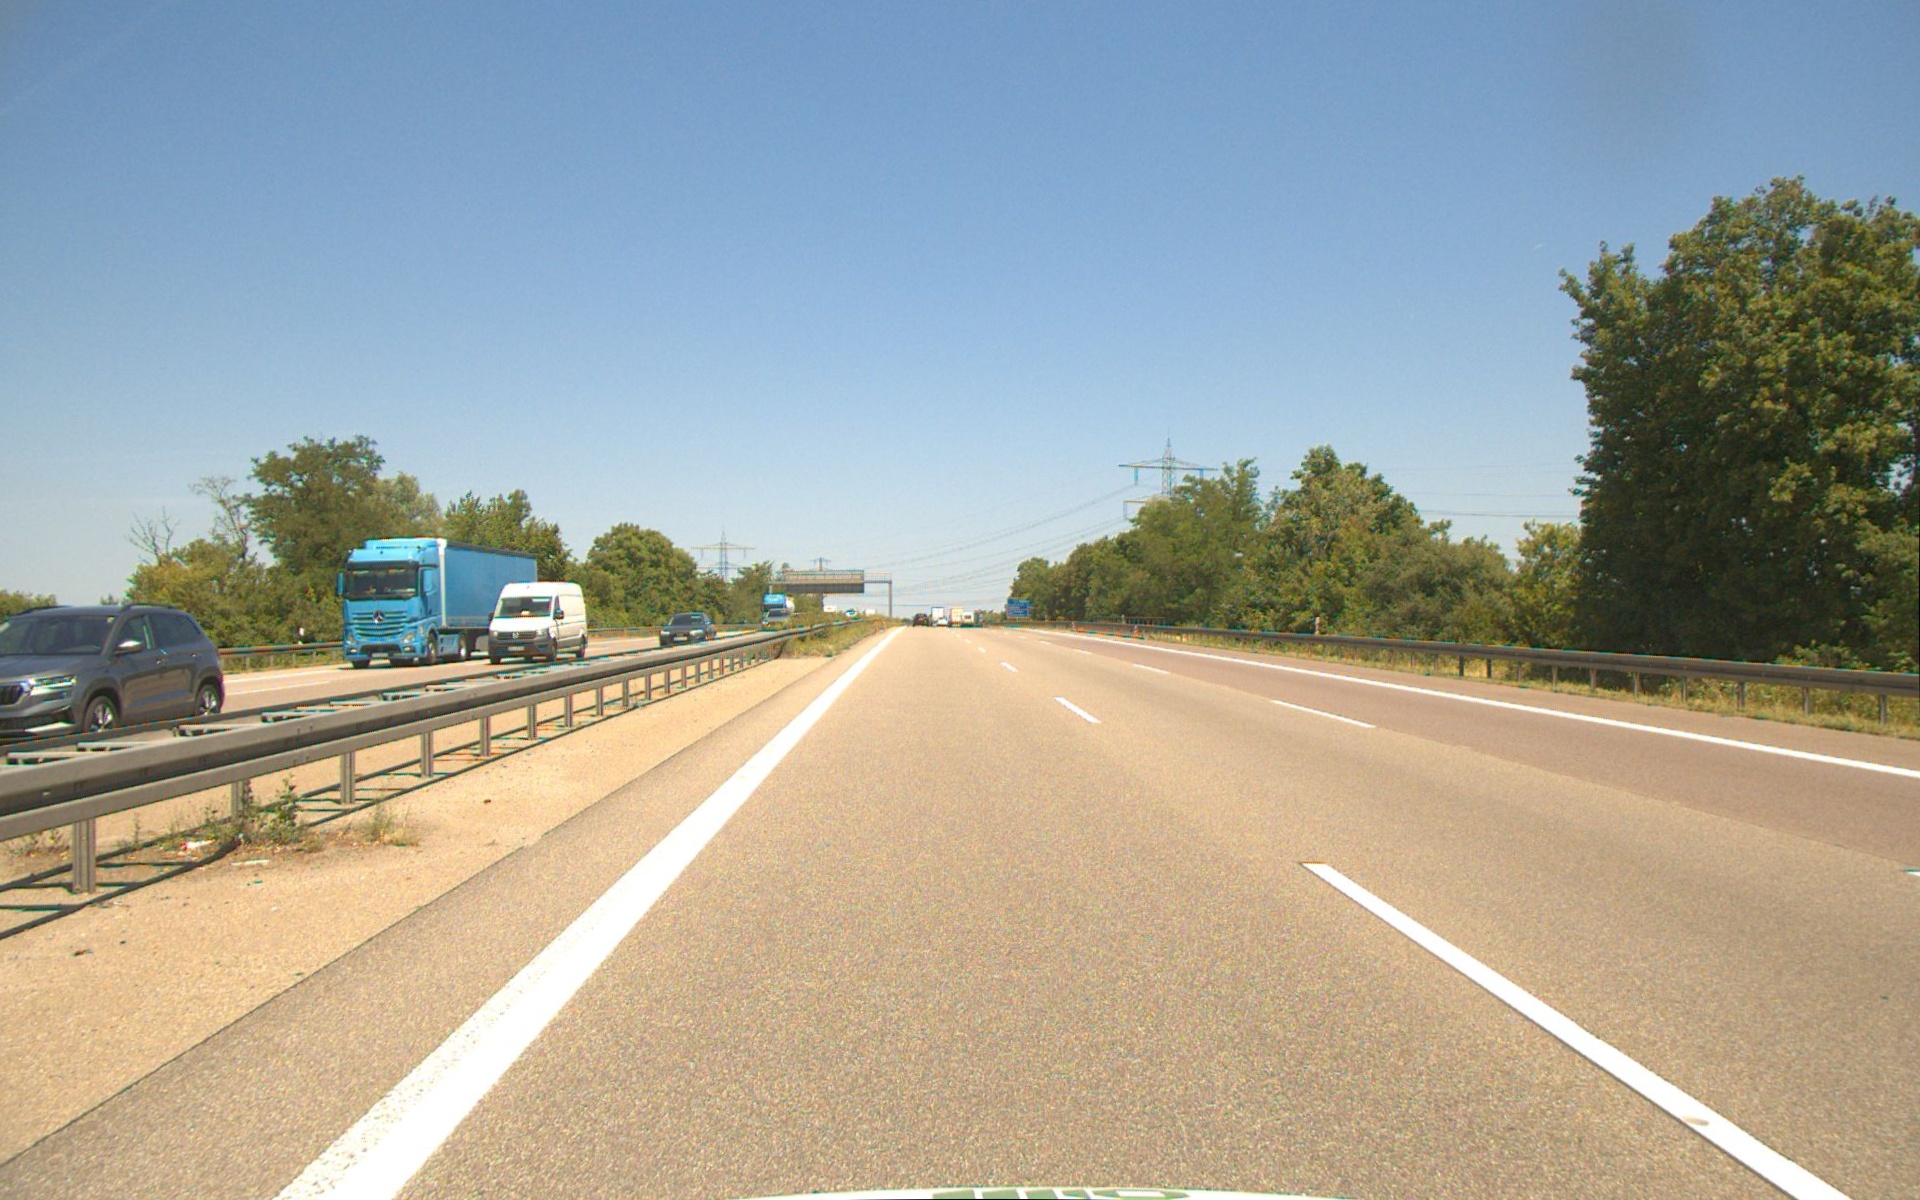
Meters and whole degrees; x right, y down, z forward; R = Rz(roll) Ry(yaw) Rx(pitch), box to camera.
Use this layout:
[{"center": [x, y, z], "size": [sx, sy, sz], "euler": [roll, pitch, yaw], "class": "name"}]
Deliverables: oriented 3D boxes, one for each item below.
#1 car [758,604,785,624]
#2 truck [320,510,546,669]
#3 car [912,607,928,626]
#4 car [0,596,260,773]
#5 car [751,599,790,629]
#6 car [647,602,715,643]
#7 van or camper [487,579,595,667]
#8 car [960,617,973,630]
[{"center": [-16.042, 1.215, 140.889], "size": [1.953, 1.646, 3.998], "euler": [-1, 0, -2], "class": "car"}, {"center": [-18.578, -0.301, 60.093], "size": [3.161, 4.802, 16.852], "euler": [-3, 0, -2], "class": "truck"}, {"center": [-4.417, 1.832, 182.017], "size": [1.755, 2.049, 3.886], "euler": [1, -1, -1], "class": "car"}, {"center": [-9.726, 0.857, 18.517], "size": [1.953, 1.719, 4.407], "euler": [-2, 0, -2], "class": "car"}, {"center": [-11.841, 0.862, 103.641], "size": [1.953, 1.761, 5.106], "euler": [-1, 0, -1], "class": "car"}, {"center": [-10.820, 0.866, 64.446], "size": [1.953, 1.510, 4.785], "euler": [-1, 0, -1], "class": "car"}, {"center": [-13.712, 0.723, 54.612], "size": [1.954, 2.610, 7.031], "euler": [-3, 0, -2], "class": "van or camper"}, {"center": [1.017, 3.705, 260.927], "size": [1.953, 2.049, 3.998], "euler": [-1, -1, -2], "class": "car"}]
